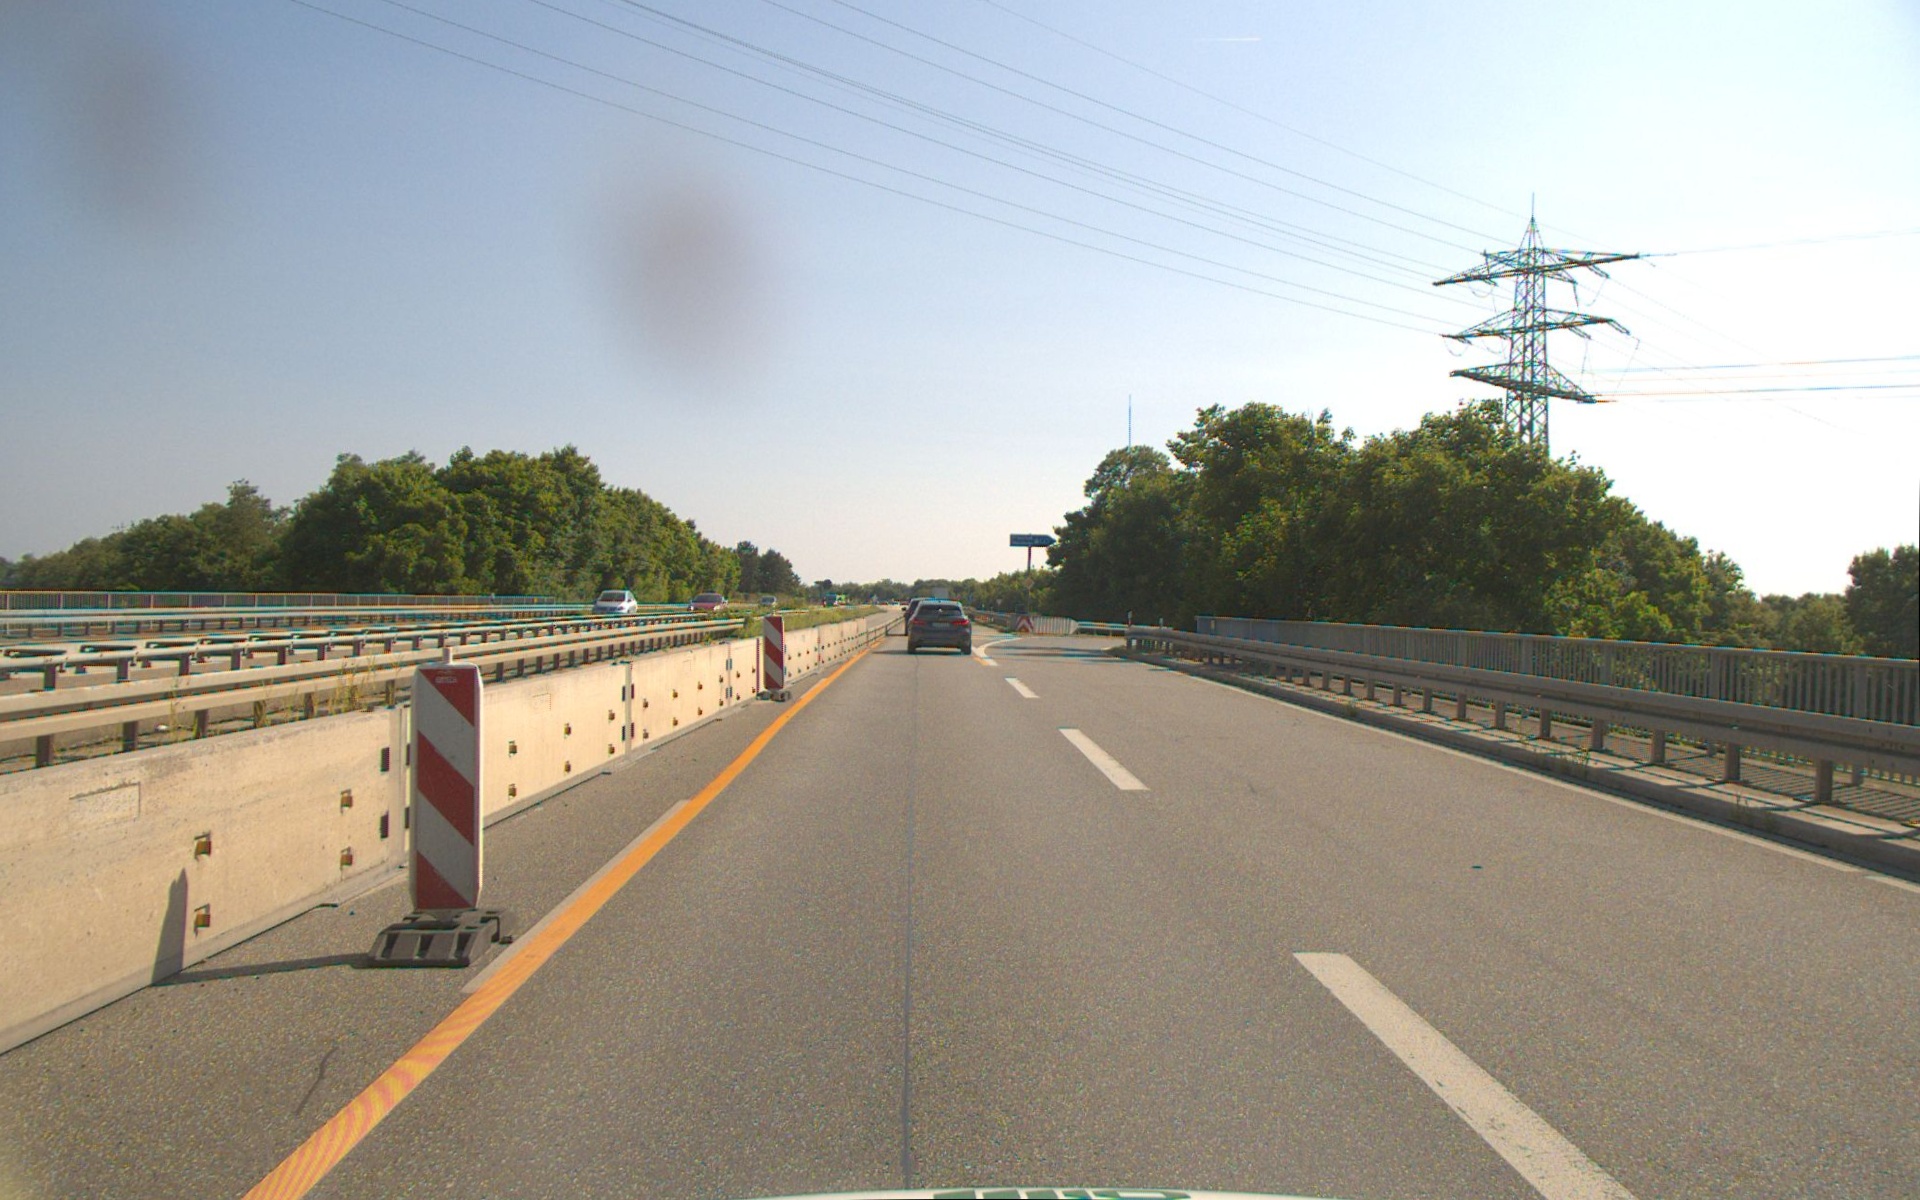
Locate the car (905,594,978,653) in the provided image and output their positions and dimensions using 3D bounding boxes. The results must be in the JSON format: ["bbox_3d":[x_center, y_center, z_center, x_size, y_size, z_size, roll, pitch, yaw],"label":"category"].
[{"bbox_3d":[-0.561,0.632,46.301,1.882,1.520,3.998,1,0,-3],"label":"car"}]

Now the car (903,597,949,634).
[{"bbox_3d":[-1.471,0.650,72.220,1.953,1.594,3.999,0,0,-1],"label":"car"}]

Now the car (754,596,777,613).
[{"bbox_3d":[-18.462,0.456,157.170,1.727,1.611,4.421,0,0,-1],"label":"car"}]

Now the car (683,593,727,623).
[{"bbox_3d":[-12.728,0.378,82.771,1.680,1.421,4.219,1,0,-2],"label":"car"}]

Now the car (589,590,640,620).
[{"bbox_3d":[-16.878,0.238,80.954,1.741,1.417,4.124,-1,0,-2],"label":"car"}]

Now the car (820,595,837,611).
[{"bbox_3d":[-17.717,0.380,223.118,1.953,2.070,5.167,0,0,-1],"label":"car"}]
